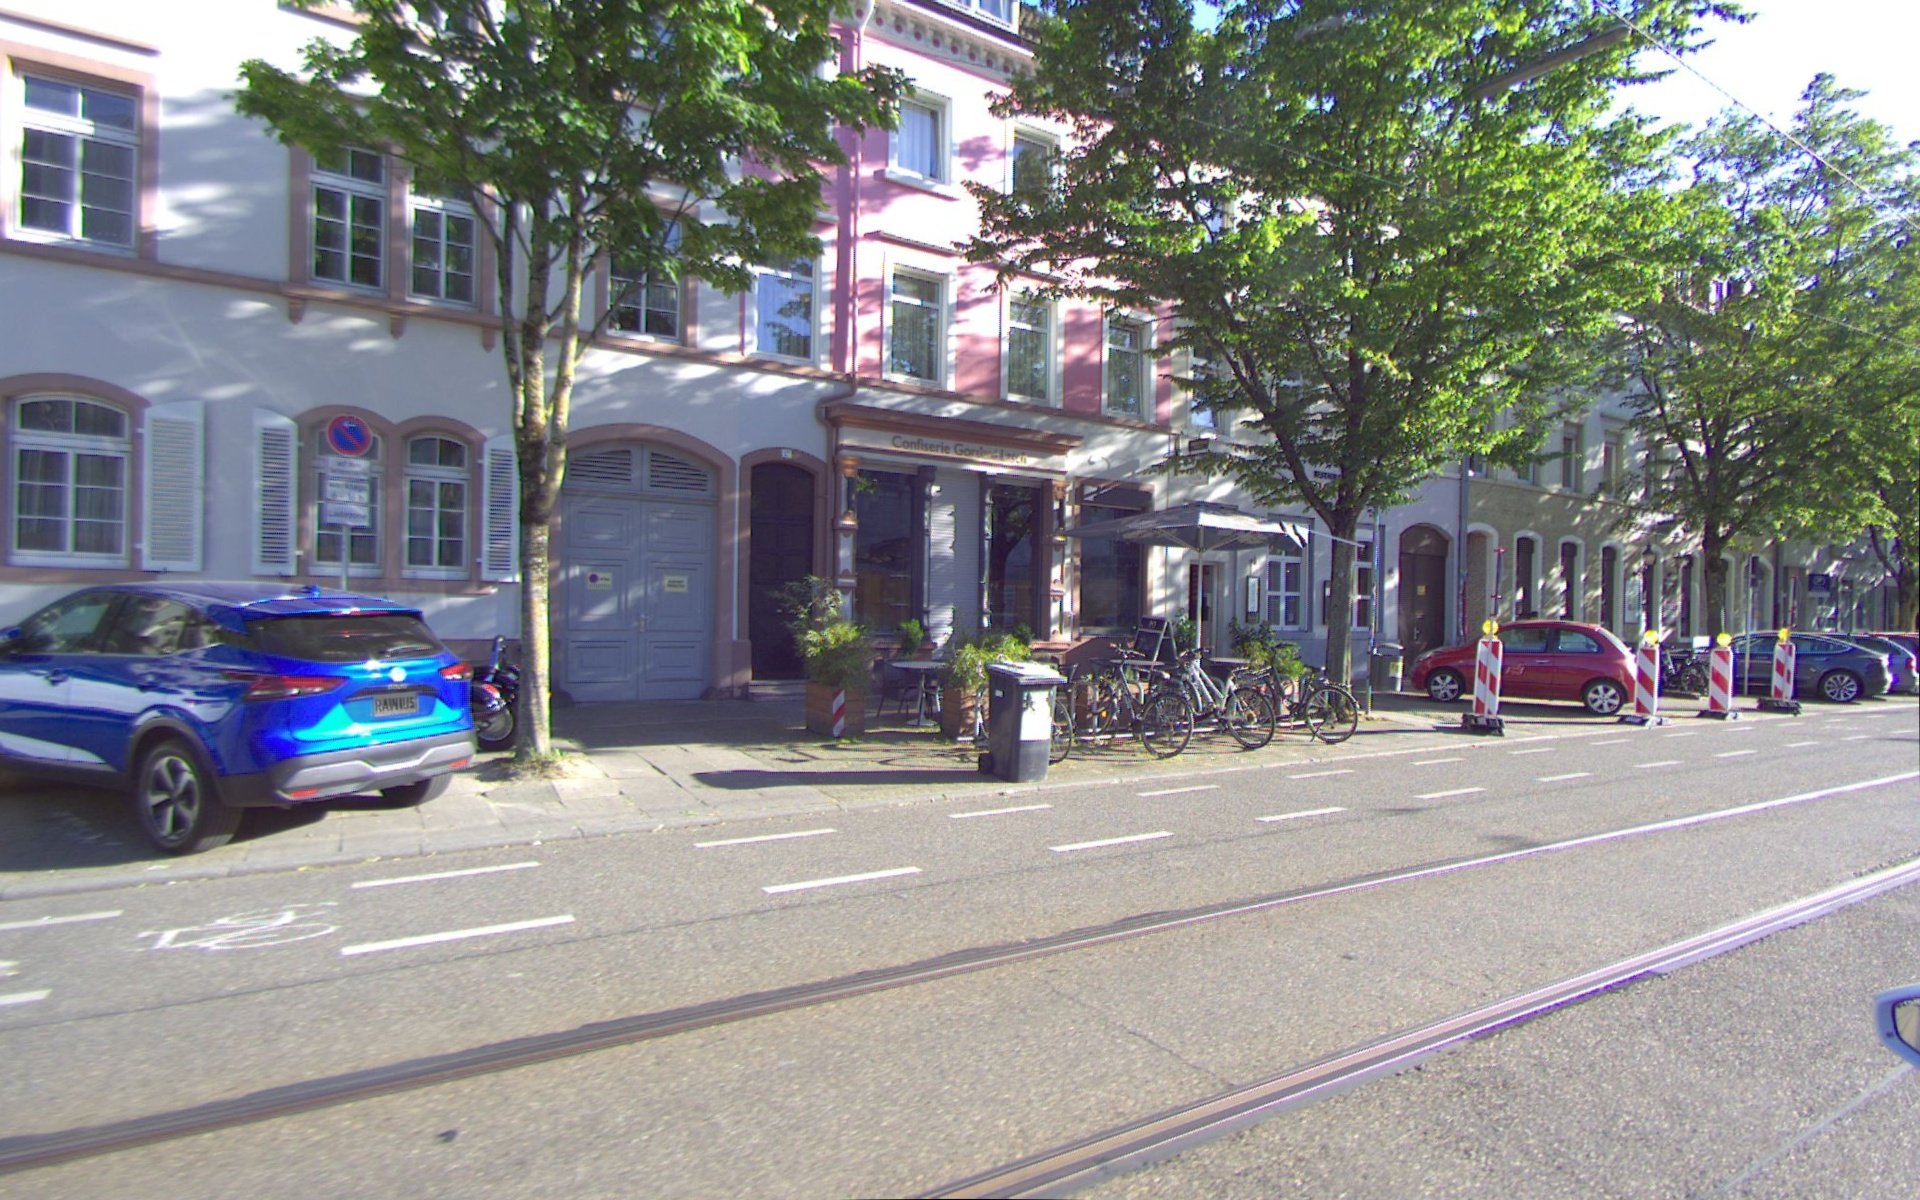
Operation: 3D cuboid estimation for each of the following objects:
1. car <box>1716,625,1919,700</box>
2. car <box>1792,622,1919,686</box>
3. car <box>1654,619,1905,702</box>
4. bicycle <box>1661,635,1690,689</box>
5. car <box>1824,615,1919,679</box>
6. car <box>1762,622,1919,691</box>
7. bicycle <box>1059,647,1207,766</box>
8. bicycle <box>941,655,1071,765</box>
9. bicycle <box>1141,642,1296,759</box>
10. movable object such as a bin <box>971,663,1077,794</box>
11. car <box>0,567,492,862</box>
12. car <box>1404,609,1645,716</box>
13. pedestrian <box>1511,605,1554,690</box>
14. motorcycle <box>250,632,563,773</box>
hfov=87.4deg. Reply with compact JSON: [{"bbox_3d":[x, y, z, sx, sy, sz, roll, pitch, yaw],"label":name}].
[{"bbox_3d":[20.548,1.441,24.076,3.618,1.490,1.750,3,0,30],"label":"car"},{"bbox_3d":[25.333,1.466,27.193,4.046,1.533,1.836,2,1,32],"label":"car"},{"bbox_3d":[18.351,1.294,22.788,4.129,1.511,1.939,2,1,32],"label":"car"},{"bbox_3d":[15.494,1.326,21.742,0.329,1.110,1.585,-1,-2,42],"label":"bicycle"},{"bbox_3d":[28.096,1.413,29.243,1.822,1.700,4.078,1,2,-34],"label":"car"},{"bbox_3d":[22.852,1.429,25.754,3.314,1.513,1.610,3,1,31],"label":"car"},{"bbox_3d":[1.945,1.171,11.608,0.561,1.094,1.959,1,2,-29],"label":"bicycle"},{"bbox_3d":[0.467,1.146,10.842,0.386,1.001,1.585,1,1,-42],"label":"bicycle"},{"bbox_3d":[3.095,1.172,12.241,0.560,1.102,1.993,1,4,-29],"label":"bicycle"},{"bbox_3d":[0.596,1.180,9.430,0.701,1.092,0.680,1,3,-30],"label":"movable object such as a bin"},{"bbox_3d":[-5.517,0.653,7.319,3.826,1.630,1.573,3,0,22],"label":"car"},{"bbox_3d":[10.006,1.024,17.940,3.562,1.574,1.664,2,2,33],"label":"car"},{"bbox_3d":[13.996,1.140,24.574,0.550,2.040,0.727,1,-1,-30],"label":"pedestrian"},{"bbox_3d":[-5.179,0.945,9.505,2.548,1.270,0.726,0,-1,1],"label":"motorcycle"}]
